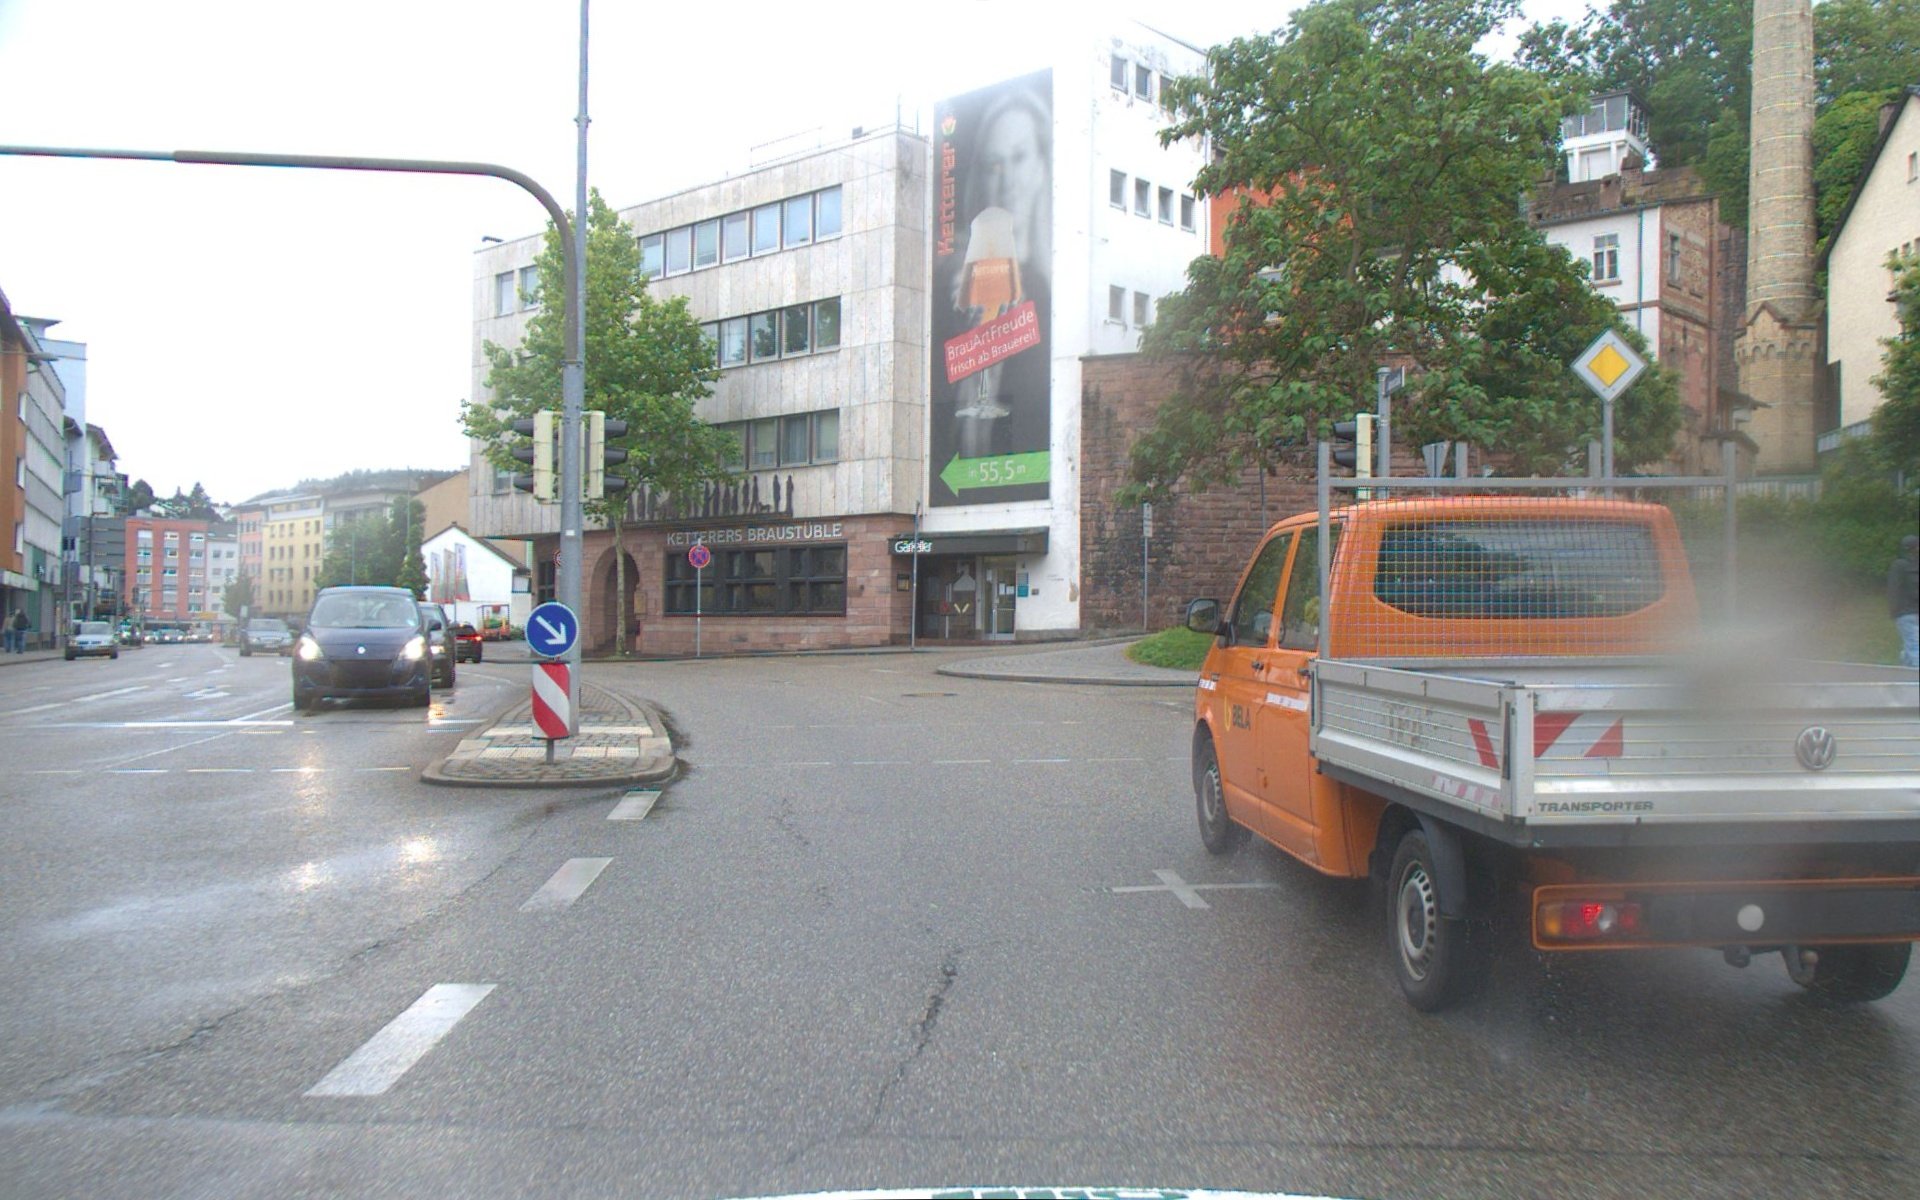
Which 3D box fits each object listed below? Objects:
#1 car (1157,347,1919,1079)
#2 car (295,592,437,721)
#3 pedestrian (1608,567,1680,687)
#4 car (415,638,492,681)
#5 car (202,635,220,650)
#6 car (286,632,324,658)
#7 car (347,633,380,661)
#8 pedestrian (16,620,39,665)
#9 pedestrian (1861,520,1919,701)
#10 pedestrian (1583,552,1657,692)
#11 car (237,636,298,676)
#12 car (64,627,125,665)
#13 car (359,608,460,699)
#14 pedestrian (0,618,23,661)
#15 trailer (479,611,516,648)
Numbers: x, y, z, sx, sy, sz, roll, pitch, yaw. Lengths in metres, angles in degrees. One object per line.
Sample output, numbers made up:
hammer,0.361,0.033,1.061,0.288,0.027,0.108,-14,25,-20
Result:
car,2.477,0.423,7.676,2.060,2.126,5.536,2,-2,-4
car,-8.349,0.731,23.442,1.728,1.643,4.189,0,0,-18
pedestrian,9.539,0.372,23.065,0.694,1.627,0.598,-3,0,43
car,-18.170,2.100,59.254,1.769,1.427,4.590,-2,0,-28
car,-79.445,4.504,175.405,1.686,1.493,4.792,-2,-1,-24
car,-40.190,2.747,101.476,1.647,1.420,3.829,1,0,-29
car,-32.281,2.538,89.547,1.640,1.421,3.843,0,-1,-20
pedestrian,-38.463,1.756,68.231,0.567,1.820,0.820,6,-4,-24
pedestrian,10.928,0.116,19.121,0.773,2.049,0.585,-1,0,40
pedestrian,9.011,0.297,22.580,0.682,1.862,0.739,-2,0,42
car,-26.640,2.123,63.546,1.713,1.465,4.370,0,-2,-29
car,-33.039,1.781,63.202,1.705,1.390,4.080,1,-3,-23
car,-9.512,0.870,28.684,1.531,1.422,3.708,-2,0,-18
pedestrian,-39.011,1.621,67.982,0.622,1.705,0.901,6,-4,-25
trailer,-35.589,2.246,127.300,2.098,2.764,5.354,-1,0,-22
